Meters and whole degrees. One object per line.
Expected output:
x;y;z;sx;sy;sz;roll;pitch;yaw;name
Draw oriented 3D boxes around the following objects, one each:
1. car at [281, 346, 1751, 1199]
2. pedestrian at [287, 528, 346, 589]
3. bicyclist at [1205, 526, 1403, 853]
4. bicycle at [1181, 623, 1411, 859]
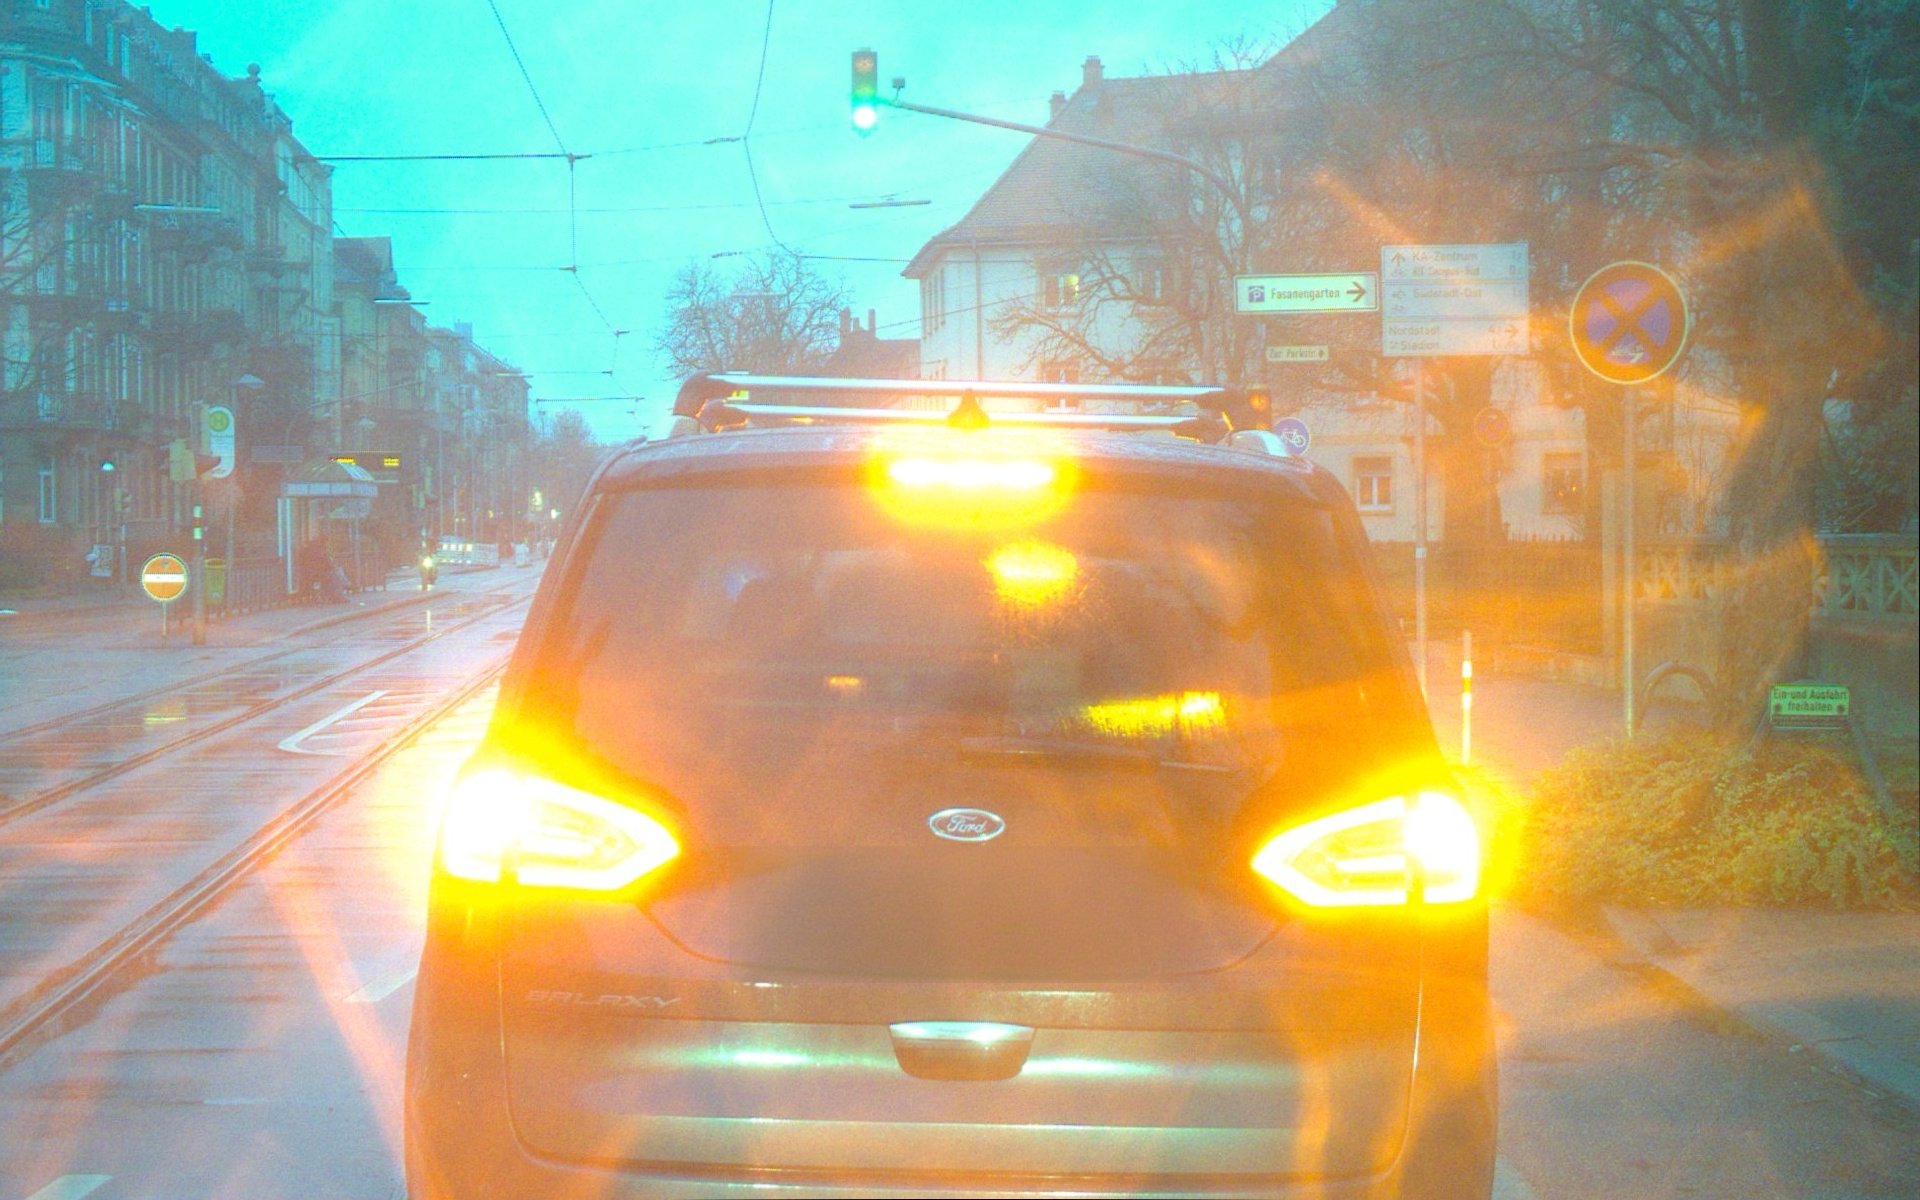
-0.008;0.516;7.321;2.103;1.810;4.661;1;1;-2;car
-12.732;-0.816;68.032;1.047;1.196;0.885;0;0;-3;pedestrian
1.826;0.457;18.378;0.716;1.657;1.057;3;1;-8;bicyclist
1.784;0.730;18.550;0.716;1.108;1.942;4;1;-9;bicycle
